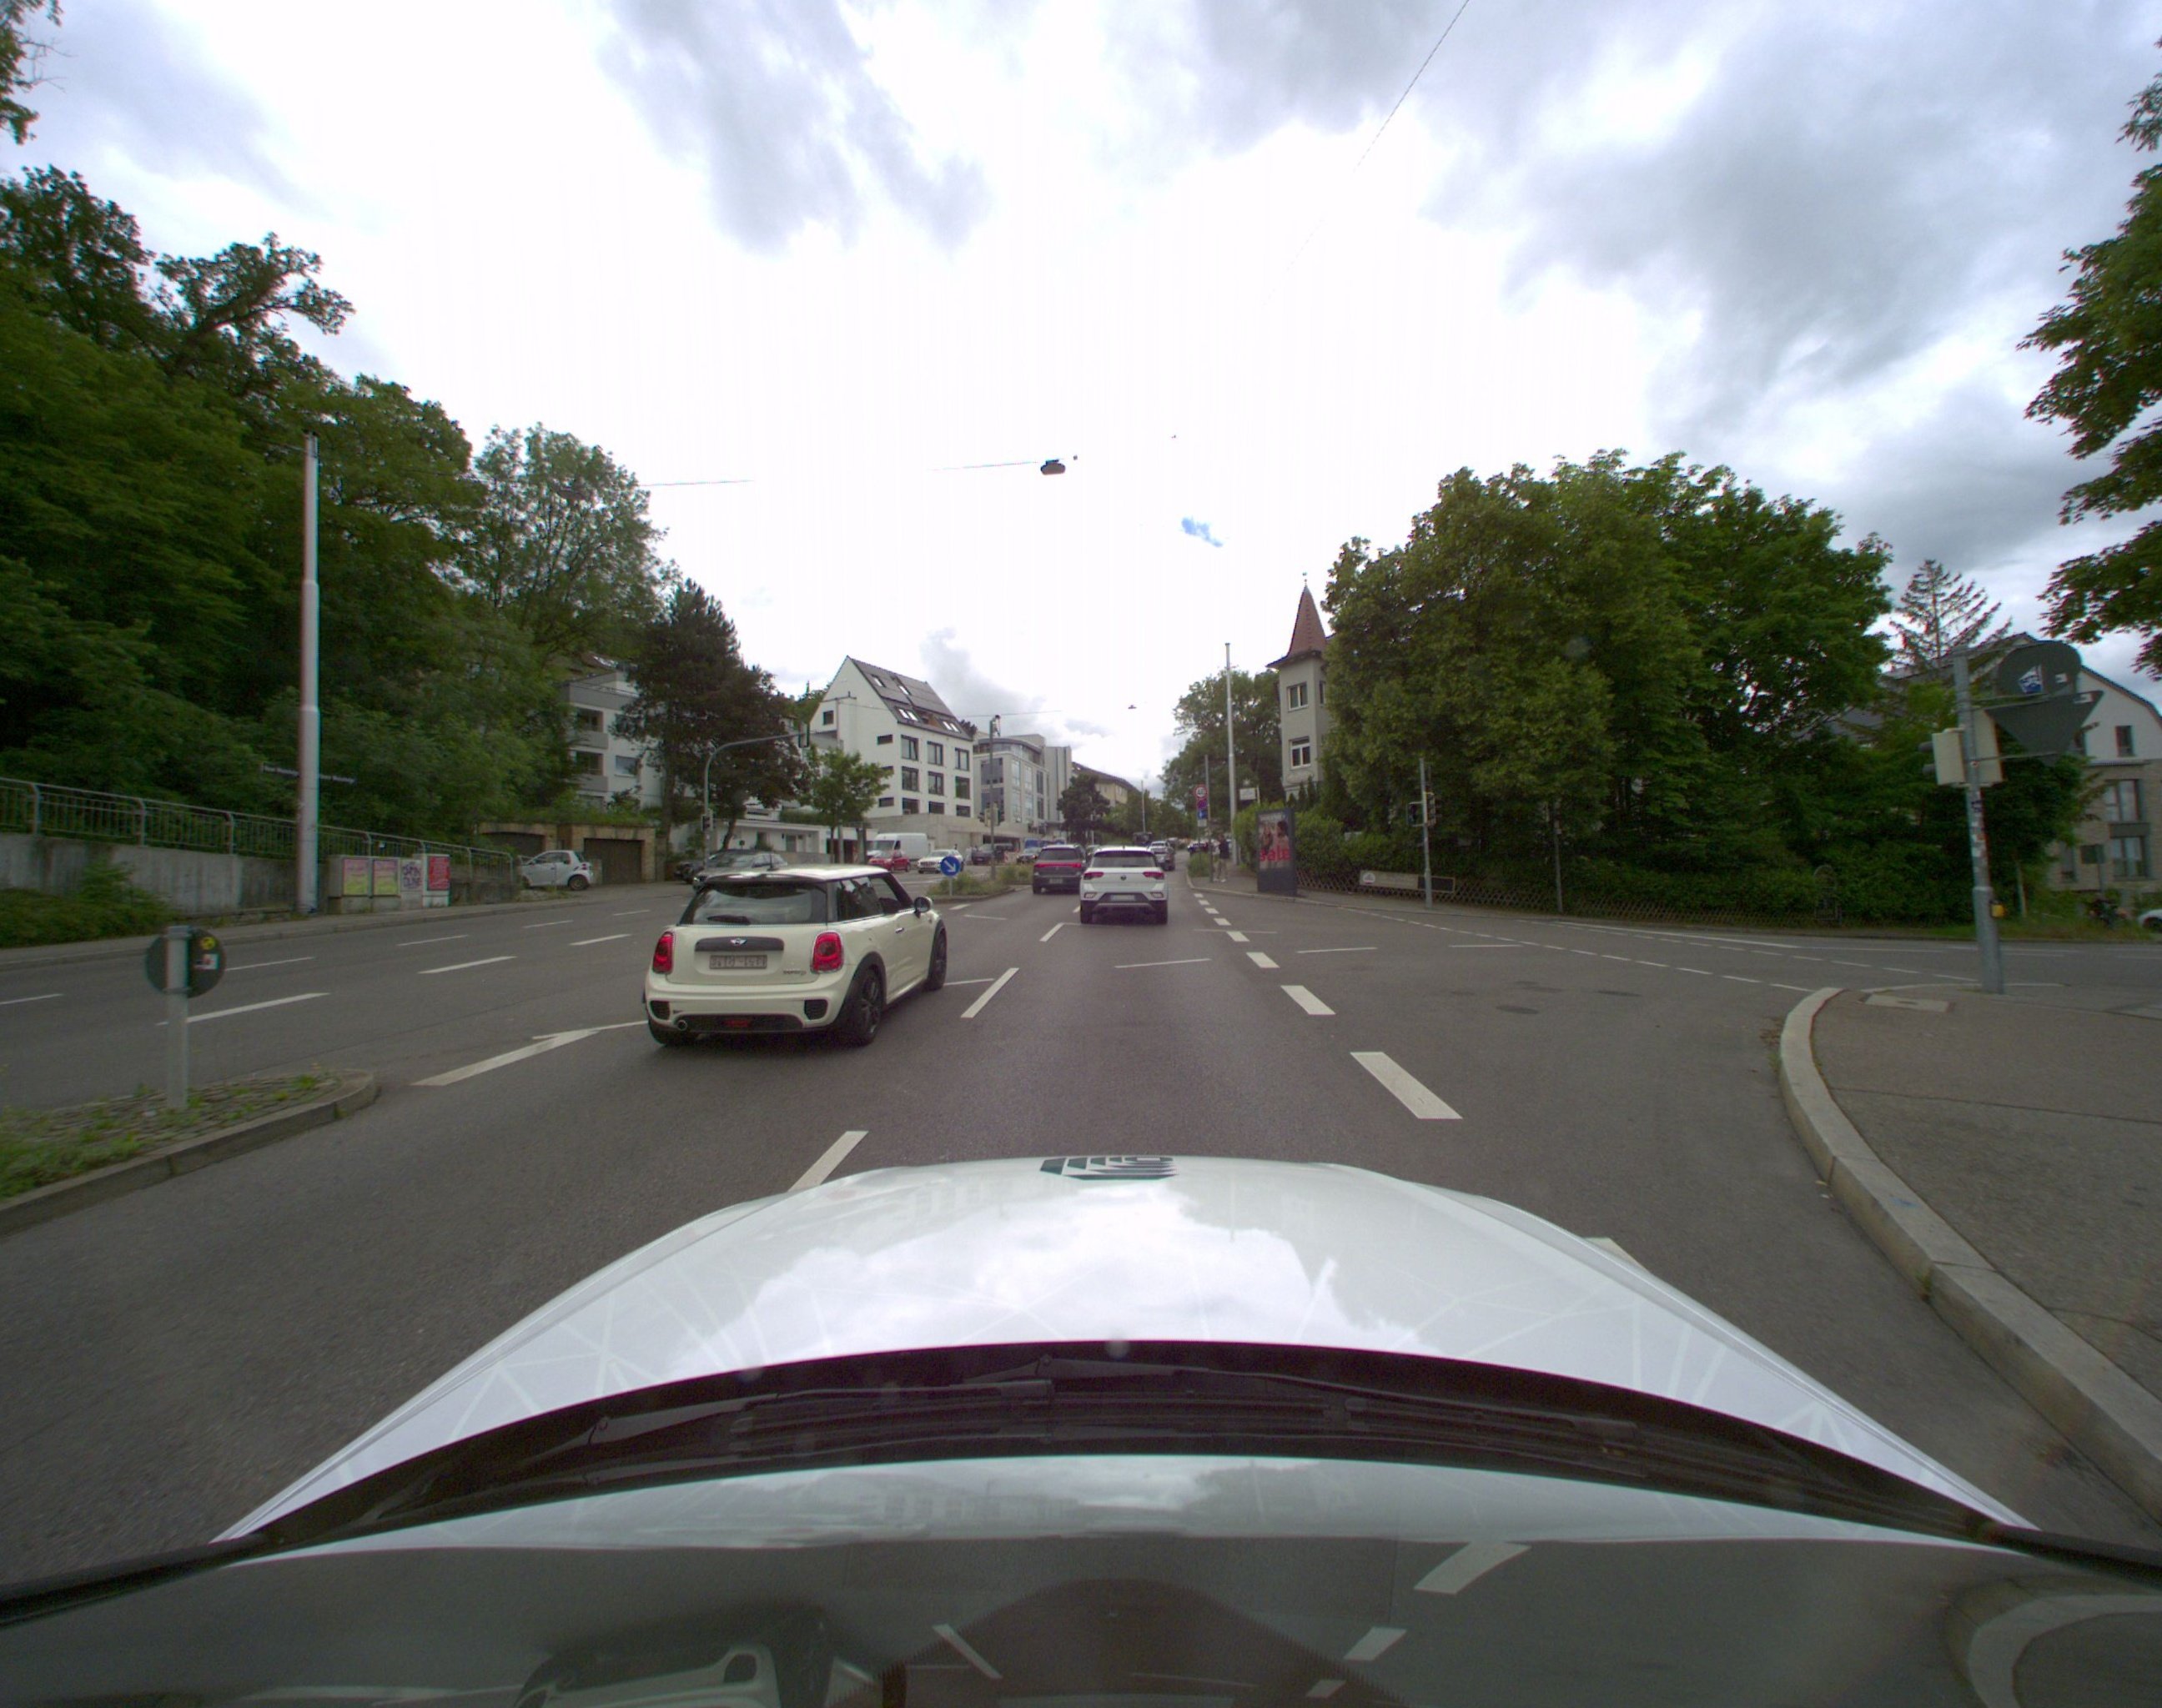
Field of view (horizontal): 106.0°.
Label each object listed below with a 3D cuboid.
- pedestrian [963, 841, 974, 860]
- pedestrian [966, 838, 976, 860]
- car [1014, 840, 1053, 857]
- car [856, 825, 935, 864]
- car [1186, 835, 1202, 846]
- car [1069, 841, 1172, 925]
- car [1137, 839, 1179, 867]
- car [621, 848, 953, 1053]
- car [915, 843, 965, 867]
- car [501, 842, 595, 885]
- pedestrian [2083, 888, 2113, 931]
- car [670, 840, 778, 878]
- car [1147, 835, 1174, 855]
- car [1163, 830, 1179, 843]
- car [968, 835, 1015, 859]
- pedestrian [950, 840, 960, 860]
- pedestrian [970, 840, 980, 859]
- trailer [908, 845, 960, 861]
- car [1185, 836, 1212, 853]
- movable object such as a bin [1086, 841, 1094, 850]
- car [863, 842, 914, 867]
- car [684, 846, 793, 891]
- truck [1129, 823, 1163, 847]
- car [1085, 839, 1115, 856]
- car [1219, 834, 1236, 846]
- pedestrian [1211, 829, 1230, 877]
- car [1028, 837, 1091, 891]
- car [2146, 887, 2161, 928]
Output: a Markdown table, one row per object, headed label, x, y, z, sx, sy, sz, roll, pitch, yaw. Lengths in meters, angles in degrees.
| label | x | y | z | sx | sy | sz | roll | pitch | yaw |
| --- | --- | --- | --- | --- | --- | --- | --- | --- | --- |
| pedestrian | -9.734 | -0.315 | 70.349 | 0.678 | 1.640 | 0.665 | 0 | 1 | -34 |
| pedestrian | -9.669 | -0.449 | 71.467 | 0.678 | 1.840 | 0.665 | 0 | 1 | -34 |
| car | -3.929 | -0.458 | 67.760 | 1.611 | 1.393 | 3.879 | 1 | 1 | 24 |
| car | -13.067 | -0.701 | 58.047 | 2.215 | 2.567 | 7.452 | -1 | 1 | 14 |
| car | 16.740 | -2.000 | 120.750 | 1.682 | 1.496 | 4.506 | 0 | 1 | 17 |
| car | 0.743 | 0.530 | 17.493 | 1.807 | 1.539 | 3.686 | -2 | 1 | -3 |
| car | 4.624 | -0.070 | 48.085 | 1.860 | 1.501 | 4.571 | 2 | 1 | 13 |
| car | -2.406 | 0.690 | 7.661 | 1.621 | 1.393 | 3.569 | -2 | 1 | 3 |
| car | -8.662 | 0.015 | 50.283 | 1.640 | 1.393 | 4.157 | 1 | 1 | 11 |
| car | -20.093 | 0.359 | 30.827 | 2.715 | 1.520 | 1.551 | 1 | -1 | -25 |
| pedestrian | 36.810 | 1.991 | 29.490 | 0.522 | 1.517 | 0.510 | 1 | 0 | -20 |
| car | -15.897 | 0.201 | 36.376 | 4.153 | 1.539 | 1.581 | -2 | 1 | -38 |
| car | 7.223 | -0.854 | 73.555 | 1.845 | 1.652 | 4.653 | -2 | 1 | 13 |
| car | 17.295 | -3.339 | 156.118 | 2.052 | 2.305 | 5.490 | -1 | 1 | 17 |
| car | -7.838 | -0.640 | 71.518 | 1.966 | 1.967 | 5.244 | -1 | 1 | 19 |
| pedestrian | -10.864 | -0.343 | 70.276 | 0.620 | 1.640 | 0.675 | 1 | 1 | 21 |
| pedestrian | -9.424 | -0.388 | 72.547 | 0.678 | 1.640 | 0.665 | 0 | 1 | -34 |
| trailer | -11.498 | -0.072 | 63.891 | 2.230 | 1.112 | 4.641 | -1 | 1 | 14 |
| car | 11.113 | -0.921 | 76.662 | 1.859 | 1.501 | 4.574 | 2 | 1 | 16 |
| movable object such as a bin | 0.976 | -0.960 | 89.992 | 0.639 | 0.990 | 0.664 | -1 | 1 | 24 |
| car | -12.066 | -0.009 | 51.185 | 1.611 | 1.465 | 3.938 | -1 | 1 | 10 |
| car | -12.199 | 0.445 | 29.383 | 1.643 | 1.448 | 4.573 | 0 | 1 | 5 |
| truck | 8.540 | -2.444 | 105.559 | 2.940 | 2.970 | 9.012 | -1 | 1 | 14 |
| car | 1.796 | -0.619 | 77.117 | 1.679 | 1.501 | 4.575 | 0 | 1 | 17 |
| car | 18.721 | -1.808 | 103.957 | 1.845 | 1.500 | 4.071 | -2 | 1 | 13 |
| pedestrian | 5.413 | -0.053 | 31.549 | 0.689 | 1.834 | 0.621 | 0 | 0 | 6 |
| car | -0.667 | 0.284 | 28.509 | 1.805 | 1.652 | 4.639 | -2 | 1 | 2 |
| car | 41.321 | 2.053 | 29.357 | 1.425 | 1.517 | 3.472 | 2 | 1 | 3 |
